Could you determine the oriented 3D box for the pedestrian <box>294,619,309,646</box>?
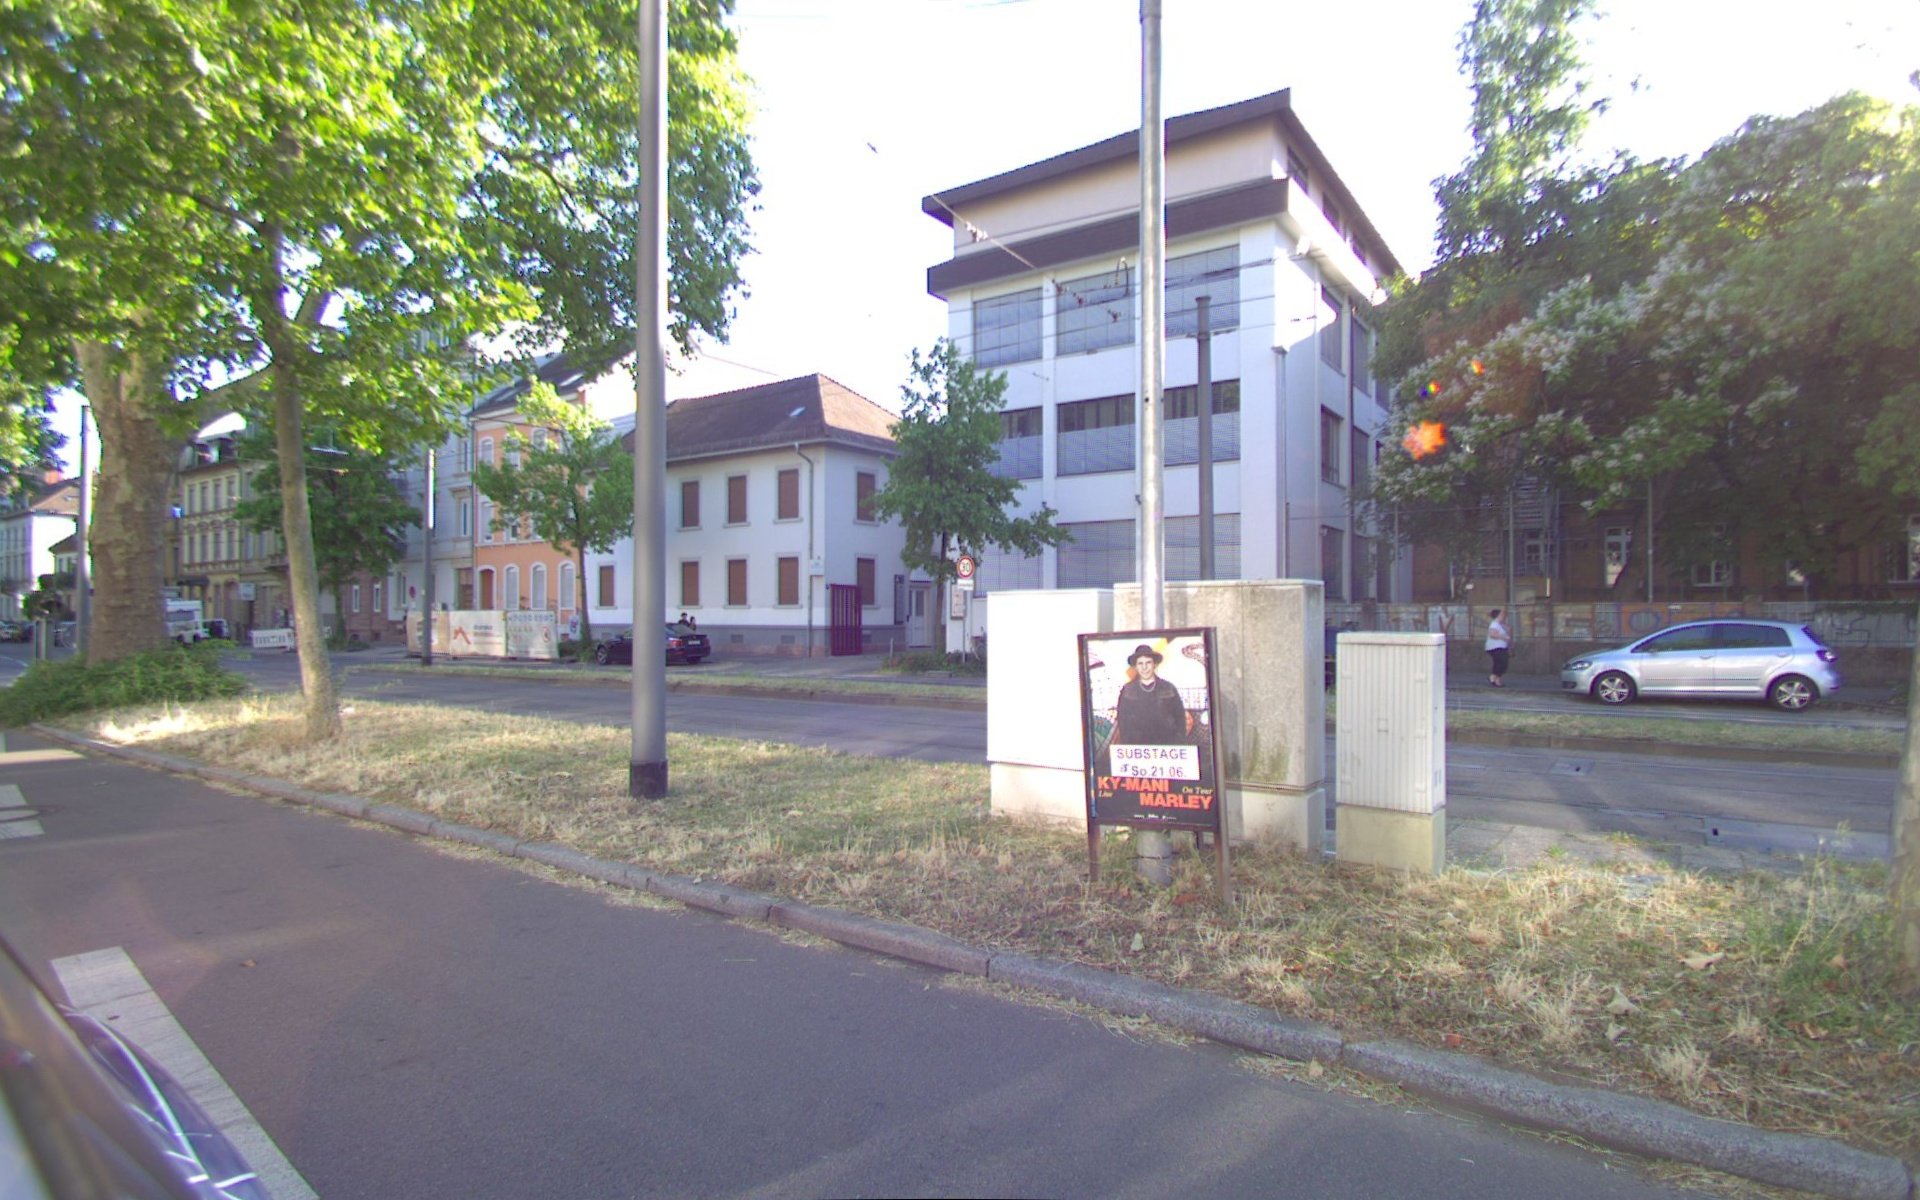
[{"bbox_3d":[-38.464,1.904,59.068,0.631,1.540,0.616,1,-2,-42],"label":"pedestrian"}]

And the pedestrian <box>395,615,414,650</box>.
[{"bbox_3d":[-28.761,1.682,52.402,0.702,1.823,0.556,-1,-2,29],"label":"pedestrian"}]

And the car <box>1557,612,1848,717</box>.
[{"bbox_3d":[13.365,1.092,18.559,4.086,1.631,2.065,-1,1,33],"label":"car"}]

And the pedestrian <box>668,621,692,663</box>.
[{"bbox_3d":[-10.523,1.572,38.018,0.708,1.540,0.532,-1,-2,29],"label":"pedestrian"}]

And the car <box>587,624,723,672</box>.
[{"bbox_3d":[-10.580,1.617,35.034,4.566,1.481,2.065,-1,1,33],"label":"car"}]

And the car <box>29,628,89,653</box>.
[{"bbox_3d":[-63.466,2.838,71.272,4.503,1.551,2.065,-1,1,33],"label":"car"}]

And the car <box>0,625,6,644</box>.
[{"bbox_3d":[-81.345,2.917,84.105,4.027,1.551,2.065,-1,1,33],"label":"car"}]

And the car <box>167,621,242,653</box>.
[{"bbox_3d":[-44.122,2.124,59.060,4.520,1.686,2.065,-1,1,33],"label":"car"}]

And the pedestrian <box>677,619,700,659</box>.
[{"bbox_3d":[-10.468,1.507,39.067,0.710,1.540,0.531,-1,-2,35],"label":"pedestrian"}]

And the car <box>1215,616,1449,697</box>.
[{"bbox_3d":[8.056,1.161,22.030,4.444,1.513,2.065,-1,1,33],"label":"car"}]

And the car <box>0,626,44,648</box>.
[{"bbox_3d":[-73.879,2.871,79.197,5.090,1.551,2.065,-1,1,33],"label":"car"}]

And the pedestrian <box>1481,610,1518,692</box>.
[{"bbox_3d":[11.377,1.067,21.337,0.630,1.677,0.563,-1,1,34],"label":"pedestrian"}]

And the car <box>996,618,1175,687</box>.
[{"bbox_3d":[3.156,1.271,25.553,3.985,1.501,2.065,-1,1,33],"label":"car"}]
